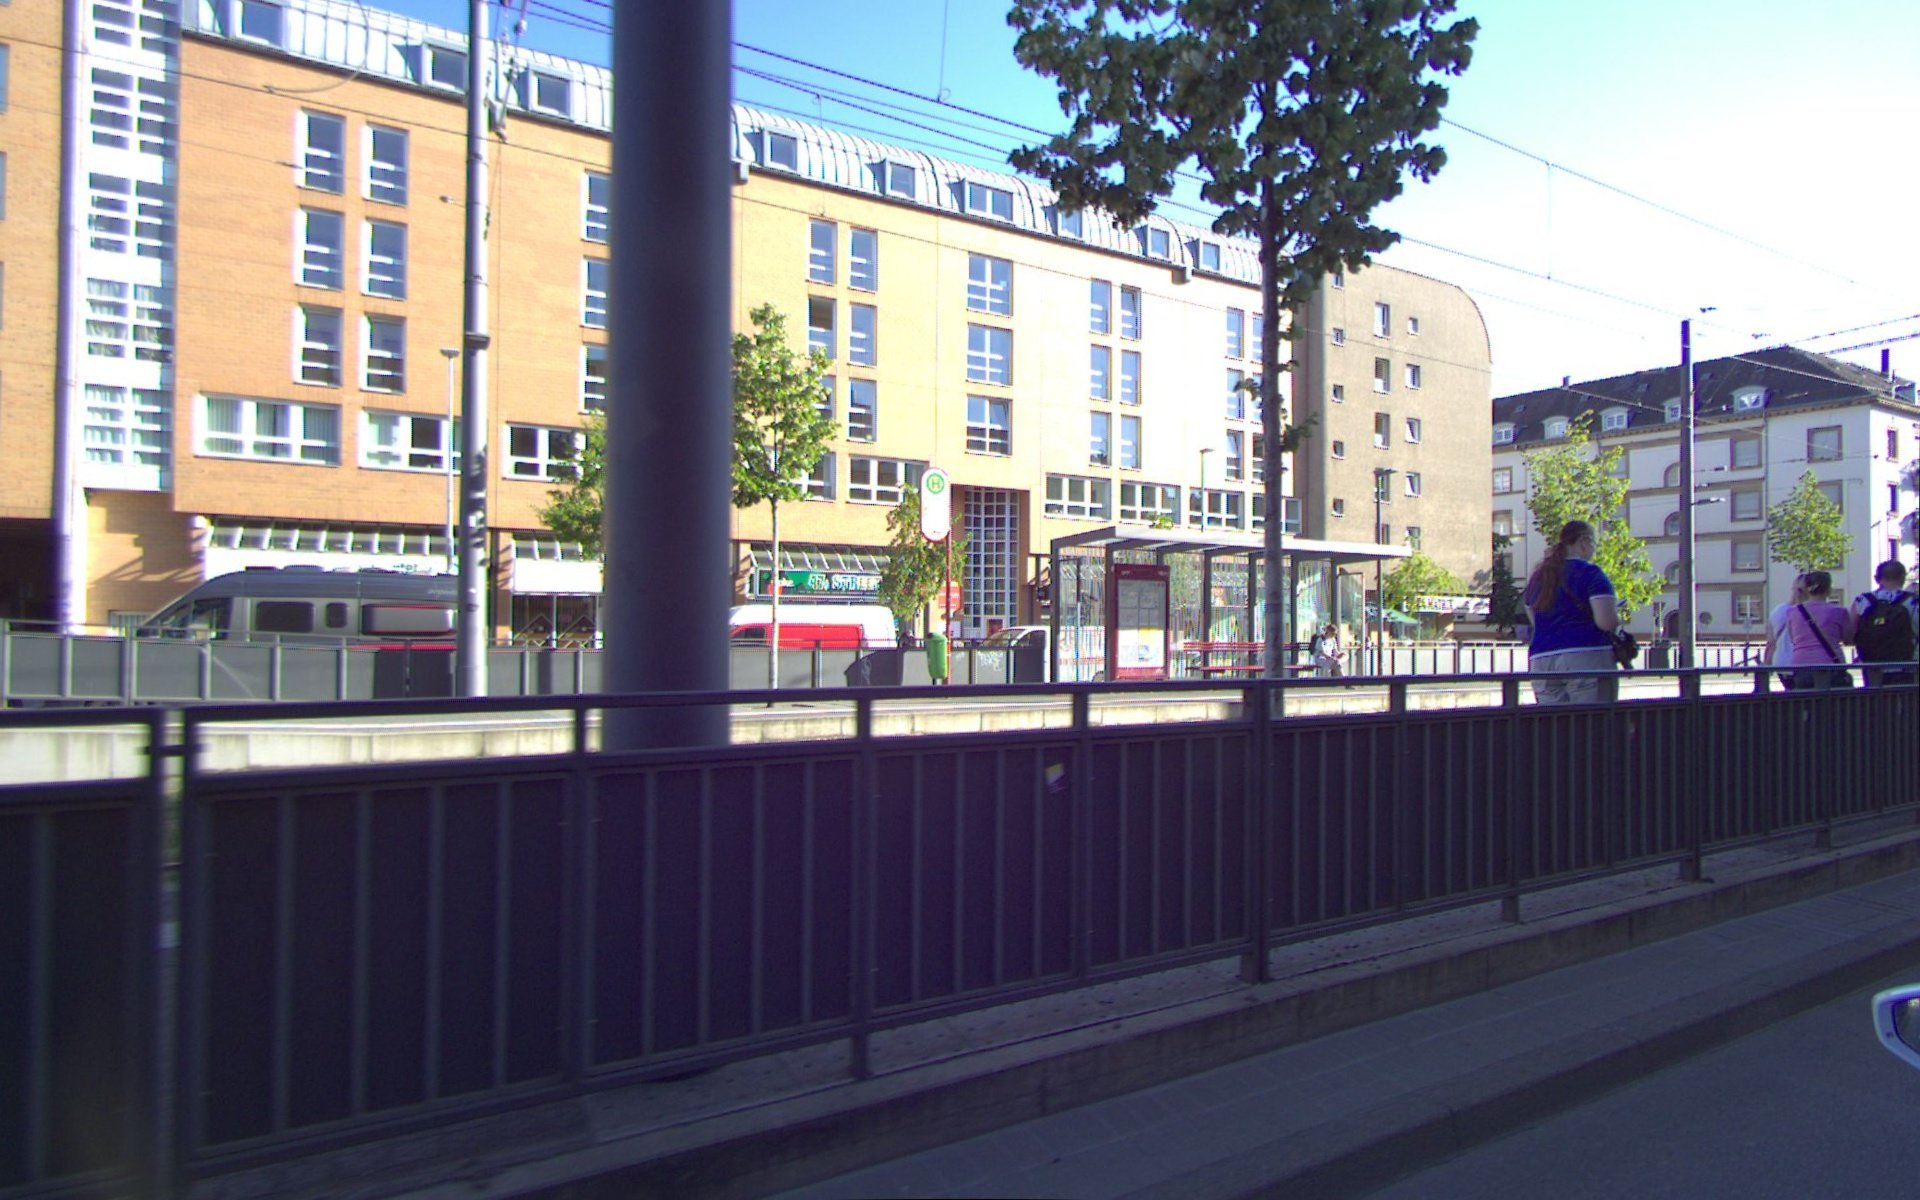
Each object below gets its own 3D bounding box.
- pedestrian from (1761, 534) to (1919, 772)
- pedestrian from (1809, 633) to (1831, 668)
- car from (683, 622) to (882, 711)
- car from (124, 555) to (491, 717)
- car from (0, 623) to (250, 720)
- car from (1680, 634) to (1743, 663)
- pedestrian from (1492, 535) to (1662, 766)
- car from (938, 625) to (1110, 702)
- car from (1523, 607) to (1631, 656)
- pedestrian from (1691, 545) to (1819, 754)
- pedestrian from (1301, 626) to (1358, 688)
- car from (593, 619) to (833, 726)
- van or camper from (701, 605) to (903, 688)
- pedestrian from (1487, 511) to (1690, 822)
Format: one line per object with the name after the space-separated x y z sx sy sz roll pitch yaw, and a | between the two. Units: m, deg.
7.005 0.397 7.809 1.083 1.694 0.883 1 -2 -30 | pedestrian
50.488 2.949 58.948 0.617 2.040 0.797 0 -1 -28 | pedestrian
-4.172 1.498 23.782 4.266 1.891 1.877 0 -2 -31 | car
-10.668 0.609 16.903 4.862 2.389 2.036 1 -2 -30 | car
-15.140 1.213 17.862 3.954 1.553 1.877 0 -2 -31 | car
45.695 2.918 61.044 4.088 1.606 1.826 0 -2 -34 | car
4.299 0.341 7.018 0.817 1.503 0.680 1 -1 -24 | pedestrian
1.734 1.643 27.029 4.259 1.891 1.880 0 -1 -27 | car
26.821 1.358 43.664 4.088 2.040 1.989 0 -1 -23 | car
6.809 0.418 8.615 0.664 1.694 0.653 1 -2 -30 | pedestrian
7.400 1.136 20.132 0.895 1.205 0.670 1 -2 -29 | pedestrian
-4.839 1.331 19.787 4.263 1.891 1.878 0 -2 -29 | car
-4.622 1.298 29.613 5.543 2.198 1.986 -1 -1 -28 | van or camper
3.774 0.379 6.051 0.667 1.694 0.880 2 -2 -42 | pedestrian
